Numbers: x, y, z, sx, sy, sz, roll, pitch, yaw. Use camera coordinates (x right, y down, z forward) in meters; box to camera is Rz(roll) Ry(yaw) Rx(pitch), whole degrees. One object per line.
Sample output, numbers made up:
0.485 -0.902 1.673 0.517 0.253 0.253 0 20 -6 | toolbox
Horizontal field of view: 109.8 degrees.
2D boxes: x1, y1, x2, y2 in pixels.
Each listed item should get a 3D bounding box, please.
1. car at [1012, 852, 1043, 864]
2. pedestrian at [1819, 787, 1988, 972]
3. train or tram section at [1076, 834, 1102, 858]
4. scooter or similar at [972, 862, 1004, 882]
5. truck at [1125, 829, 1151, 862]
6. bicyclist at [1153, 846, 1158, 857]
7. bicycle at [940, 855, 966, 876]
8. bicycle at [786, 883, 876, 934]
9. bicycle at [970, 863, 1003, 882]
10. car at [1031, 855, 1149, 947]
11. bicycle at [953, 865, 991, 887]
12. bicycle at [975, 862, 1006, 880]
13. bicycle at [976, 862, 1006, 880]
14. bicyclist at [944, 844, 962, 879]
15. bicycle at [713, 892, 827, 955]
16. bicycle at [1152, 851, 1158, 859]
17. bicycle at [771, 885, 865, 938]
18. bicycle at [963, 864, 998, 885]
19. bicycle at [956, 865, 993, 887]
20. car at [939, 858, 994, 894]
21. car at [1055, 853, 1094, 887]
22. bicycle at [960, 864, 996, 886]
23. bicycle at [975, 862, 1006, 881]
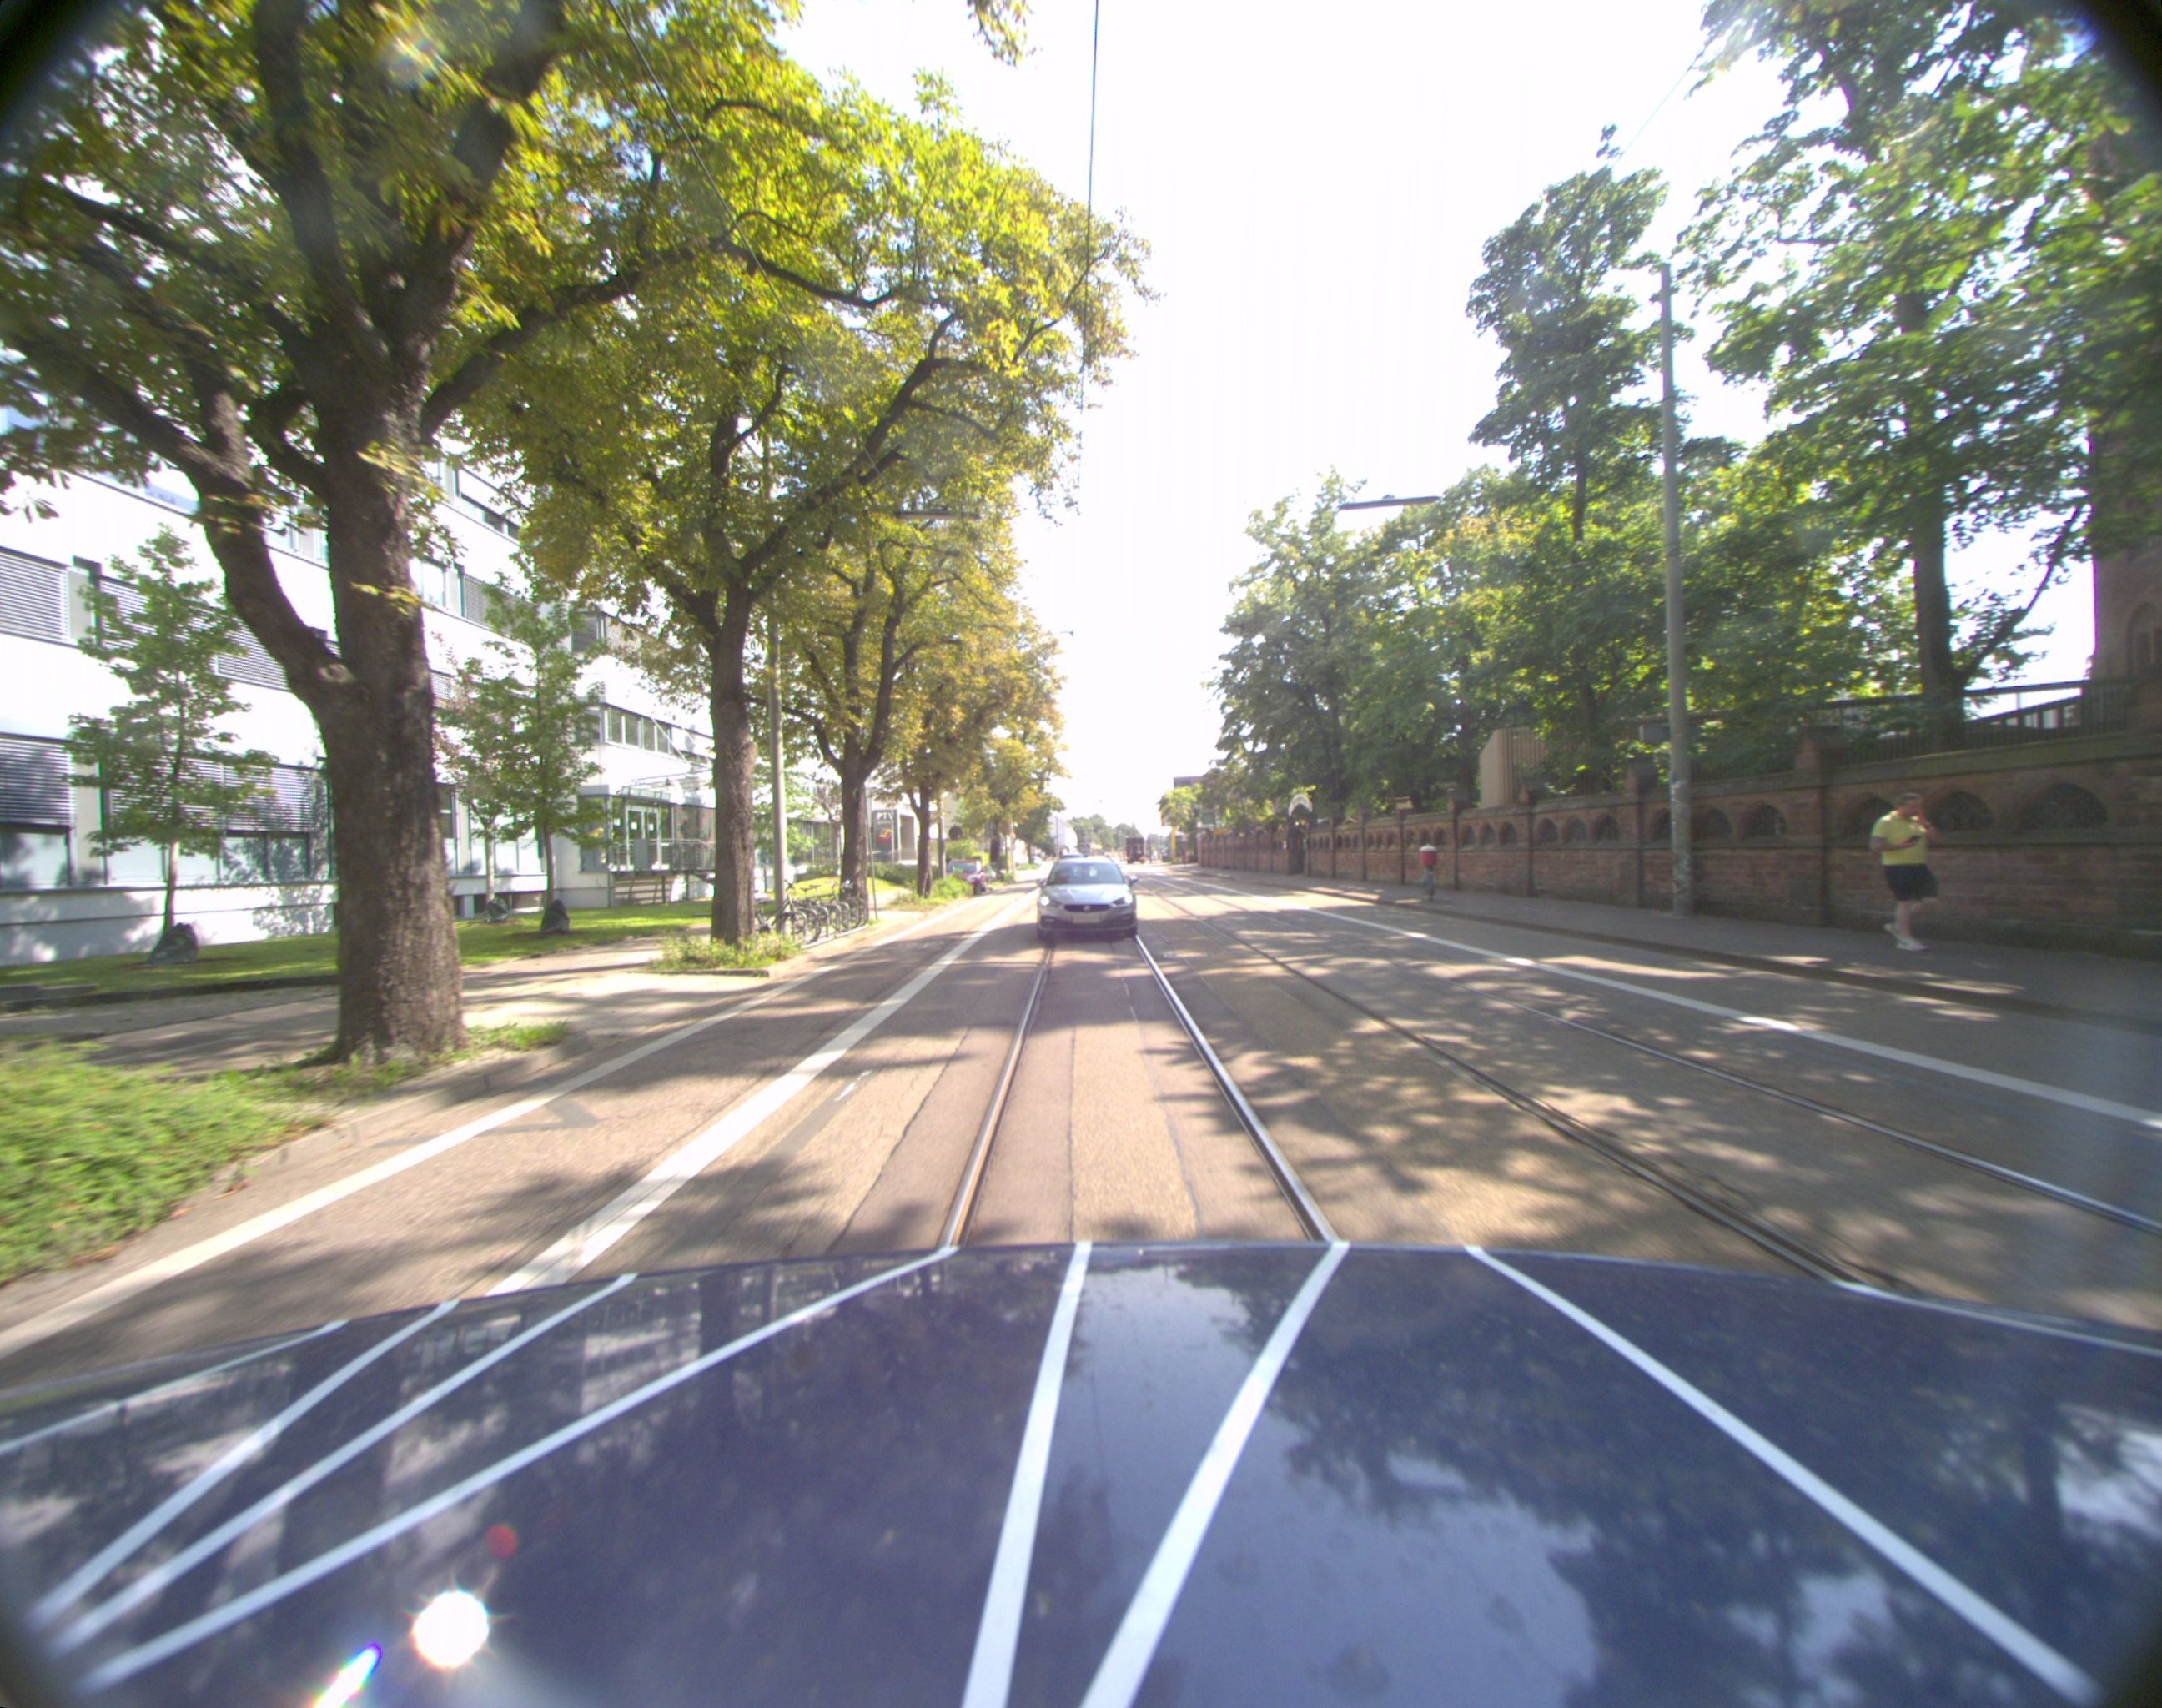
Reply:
-7.824 0.614 111.211 4.552 1.506 1.960 -2 1 -5 | car
9.533 0.278 8.854 0.866 2.002 0.983 -2 1 -2 | pedestrian
1.682 -1.436 135.394 4.111 3.711 24.377 -2 1 2 | train or tram section
-5.338 1.034 43.545 1.776 1.065 0.540 -1 1 -1 | scooter or similar
8.822 -1.306 115.789 3.171 4.427 16.846 -2 1 6 | truck
12.840 -0.485 131.360 0.643 1.918 1.175 -2 1 0 | bicyclist
-7.504 0.661 44.738 1.138 1.118 2.536 -2 1 -2 | bicycle
-5.499 1.194 16.750 1.776 1.044 0.540 -1 1 -1 | bicycle
-5.322 1.040 42.958 1.776 1.065 0.540 -1 1 -1 | bicycle
0.150 0.787 15.173 1.928 1.465 4.816 -2 0 0 | car
-5.409 1.093 37.789 1.776 1.065 0.540 -1 1 -1 | bicycle
-5.425 1.016 45.757 1.776 1.065 0.540 -1 1 -1 | bicycle
-5.415 1.016 45.779 1.776 1.065 0.540 -1 1 -1 | bicycle
-7.512 0.453 44.644 0.783 2.002 1.274 -2 1 -2 | bicyclist
-5.545 1.227 13.594 1.776 1.044 0.540 -1 1 -1 | bicycle
12.871 0.182 131.404 0.787 1.233 2.034 -3 1 0 | bicycle
-5.548 1.203 16.073 1.776 1.044 0.540 -1 1 -1 | bicycle
-5.314 1.064 40.375 1.776 1.065 0.540 -1 1 -1 | bicycle
-5.377 1.086 38.463 1.776 1.065 0.540 -1 1 -1 | bicycle
-5.093 0.929 34.314 1.760 1.453 4.274 -1 0 0 | car
-0.330 0.766 39.212 1.834 1.543 4.032 -2 1 0 | car
-5.321 1.075 39.273 1.776 1.065 0.540 -1 1 -1 | bicycle
-5.386 1.020 45.178 1.776 1.065 0.540 -1 1 -1 | bicycle
